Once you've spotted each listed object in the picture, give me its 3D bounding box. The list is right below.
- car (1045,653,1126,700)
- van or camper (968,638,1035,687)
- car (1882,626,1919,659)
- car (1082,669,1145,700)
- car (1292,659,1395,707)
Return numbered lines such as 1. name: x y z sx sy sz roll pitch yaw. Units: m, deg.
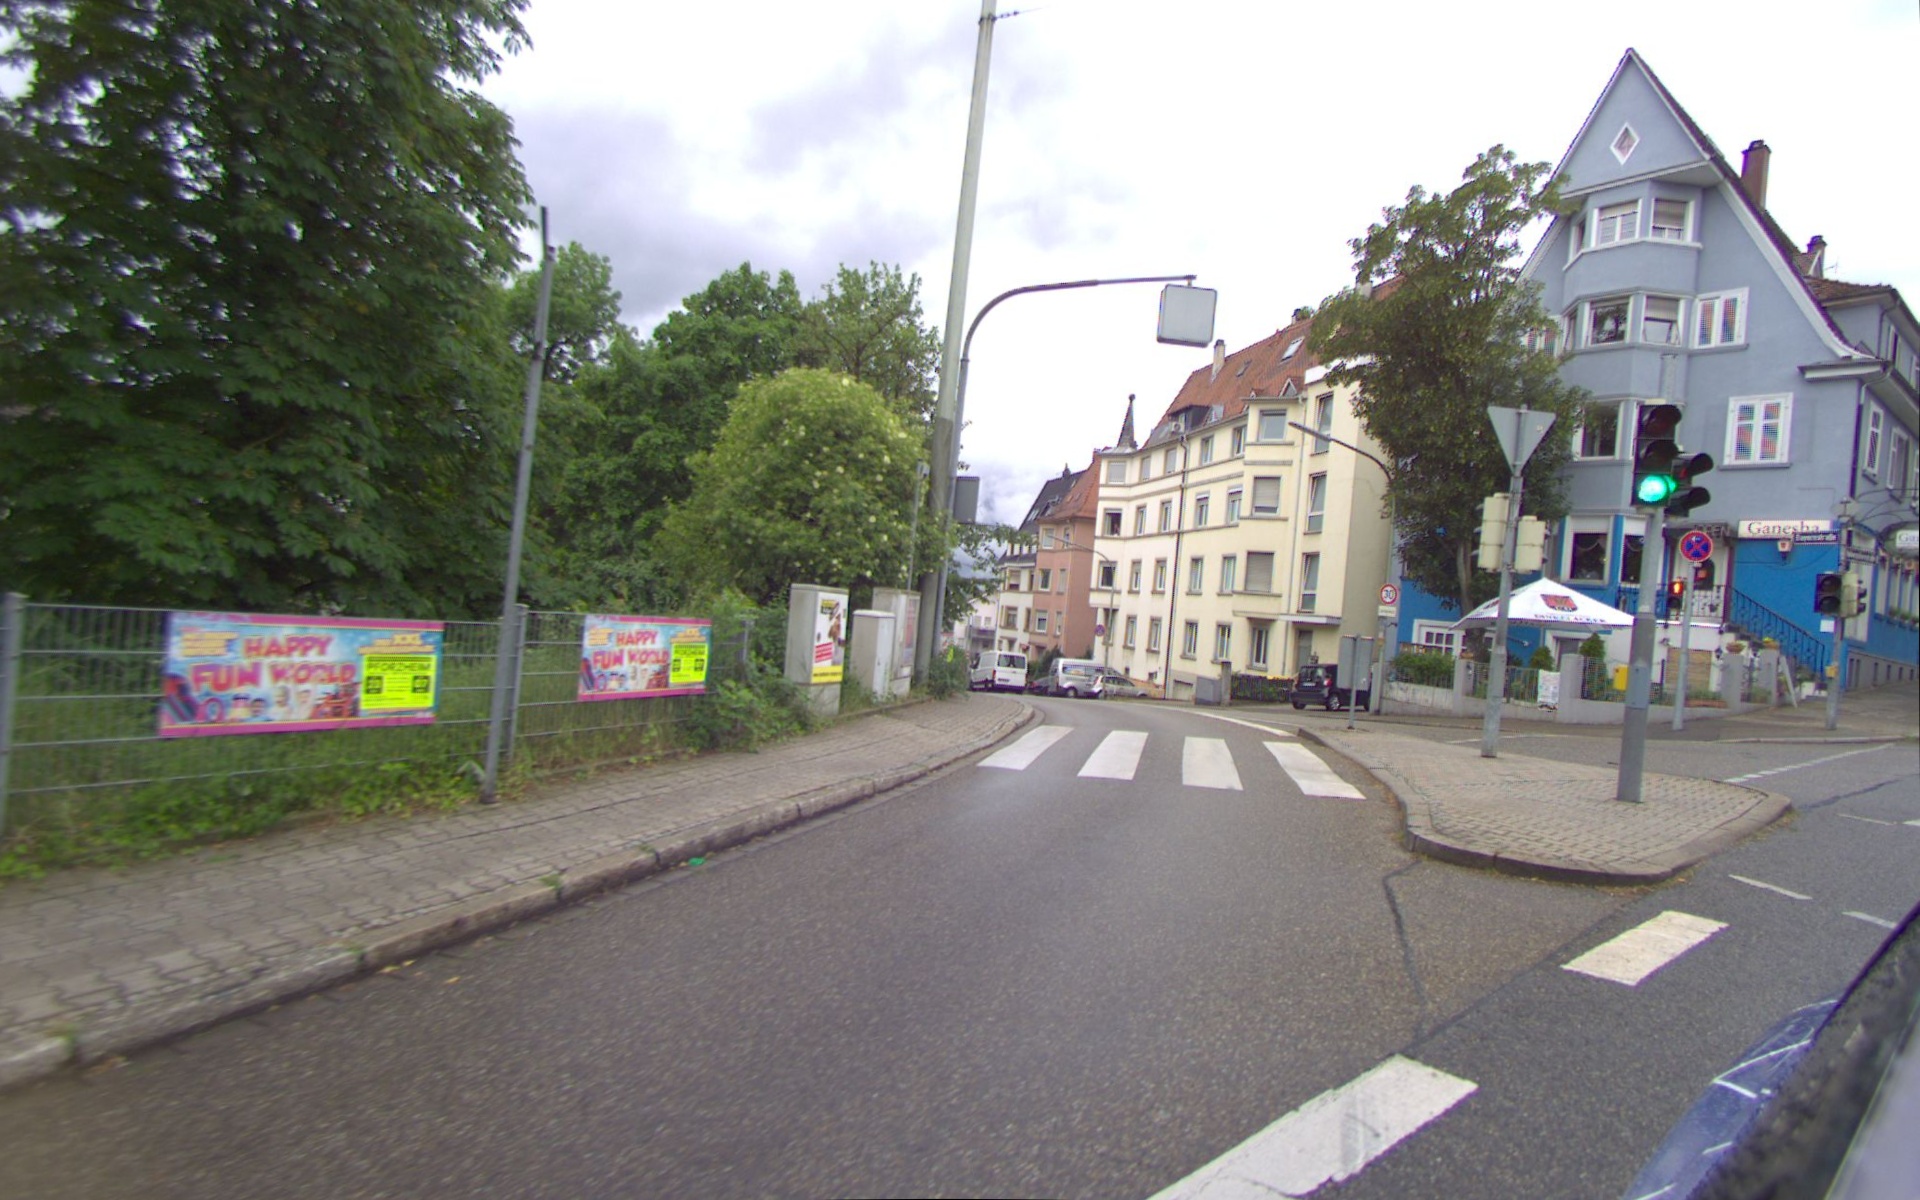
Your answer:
1. car: 7.160 4.397 57.827 4.089 2.264 1.943 5 -8 -10
2. van or camper: 2.173 3.396 55.037 2.066 2.356 5.424 5 -4 -13
3. car: 44.264 1.963 45.205 4.343 1.425 1.785 2 1 37
4. car: 8.355 4.600 55.160 2.990 1.423 1.308 7 -5 -15
5. car: 12.919 2.776 34.092 3.078 1.518 1.641 2 -4 -29
